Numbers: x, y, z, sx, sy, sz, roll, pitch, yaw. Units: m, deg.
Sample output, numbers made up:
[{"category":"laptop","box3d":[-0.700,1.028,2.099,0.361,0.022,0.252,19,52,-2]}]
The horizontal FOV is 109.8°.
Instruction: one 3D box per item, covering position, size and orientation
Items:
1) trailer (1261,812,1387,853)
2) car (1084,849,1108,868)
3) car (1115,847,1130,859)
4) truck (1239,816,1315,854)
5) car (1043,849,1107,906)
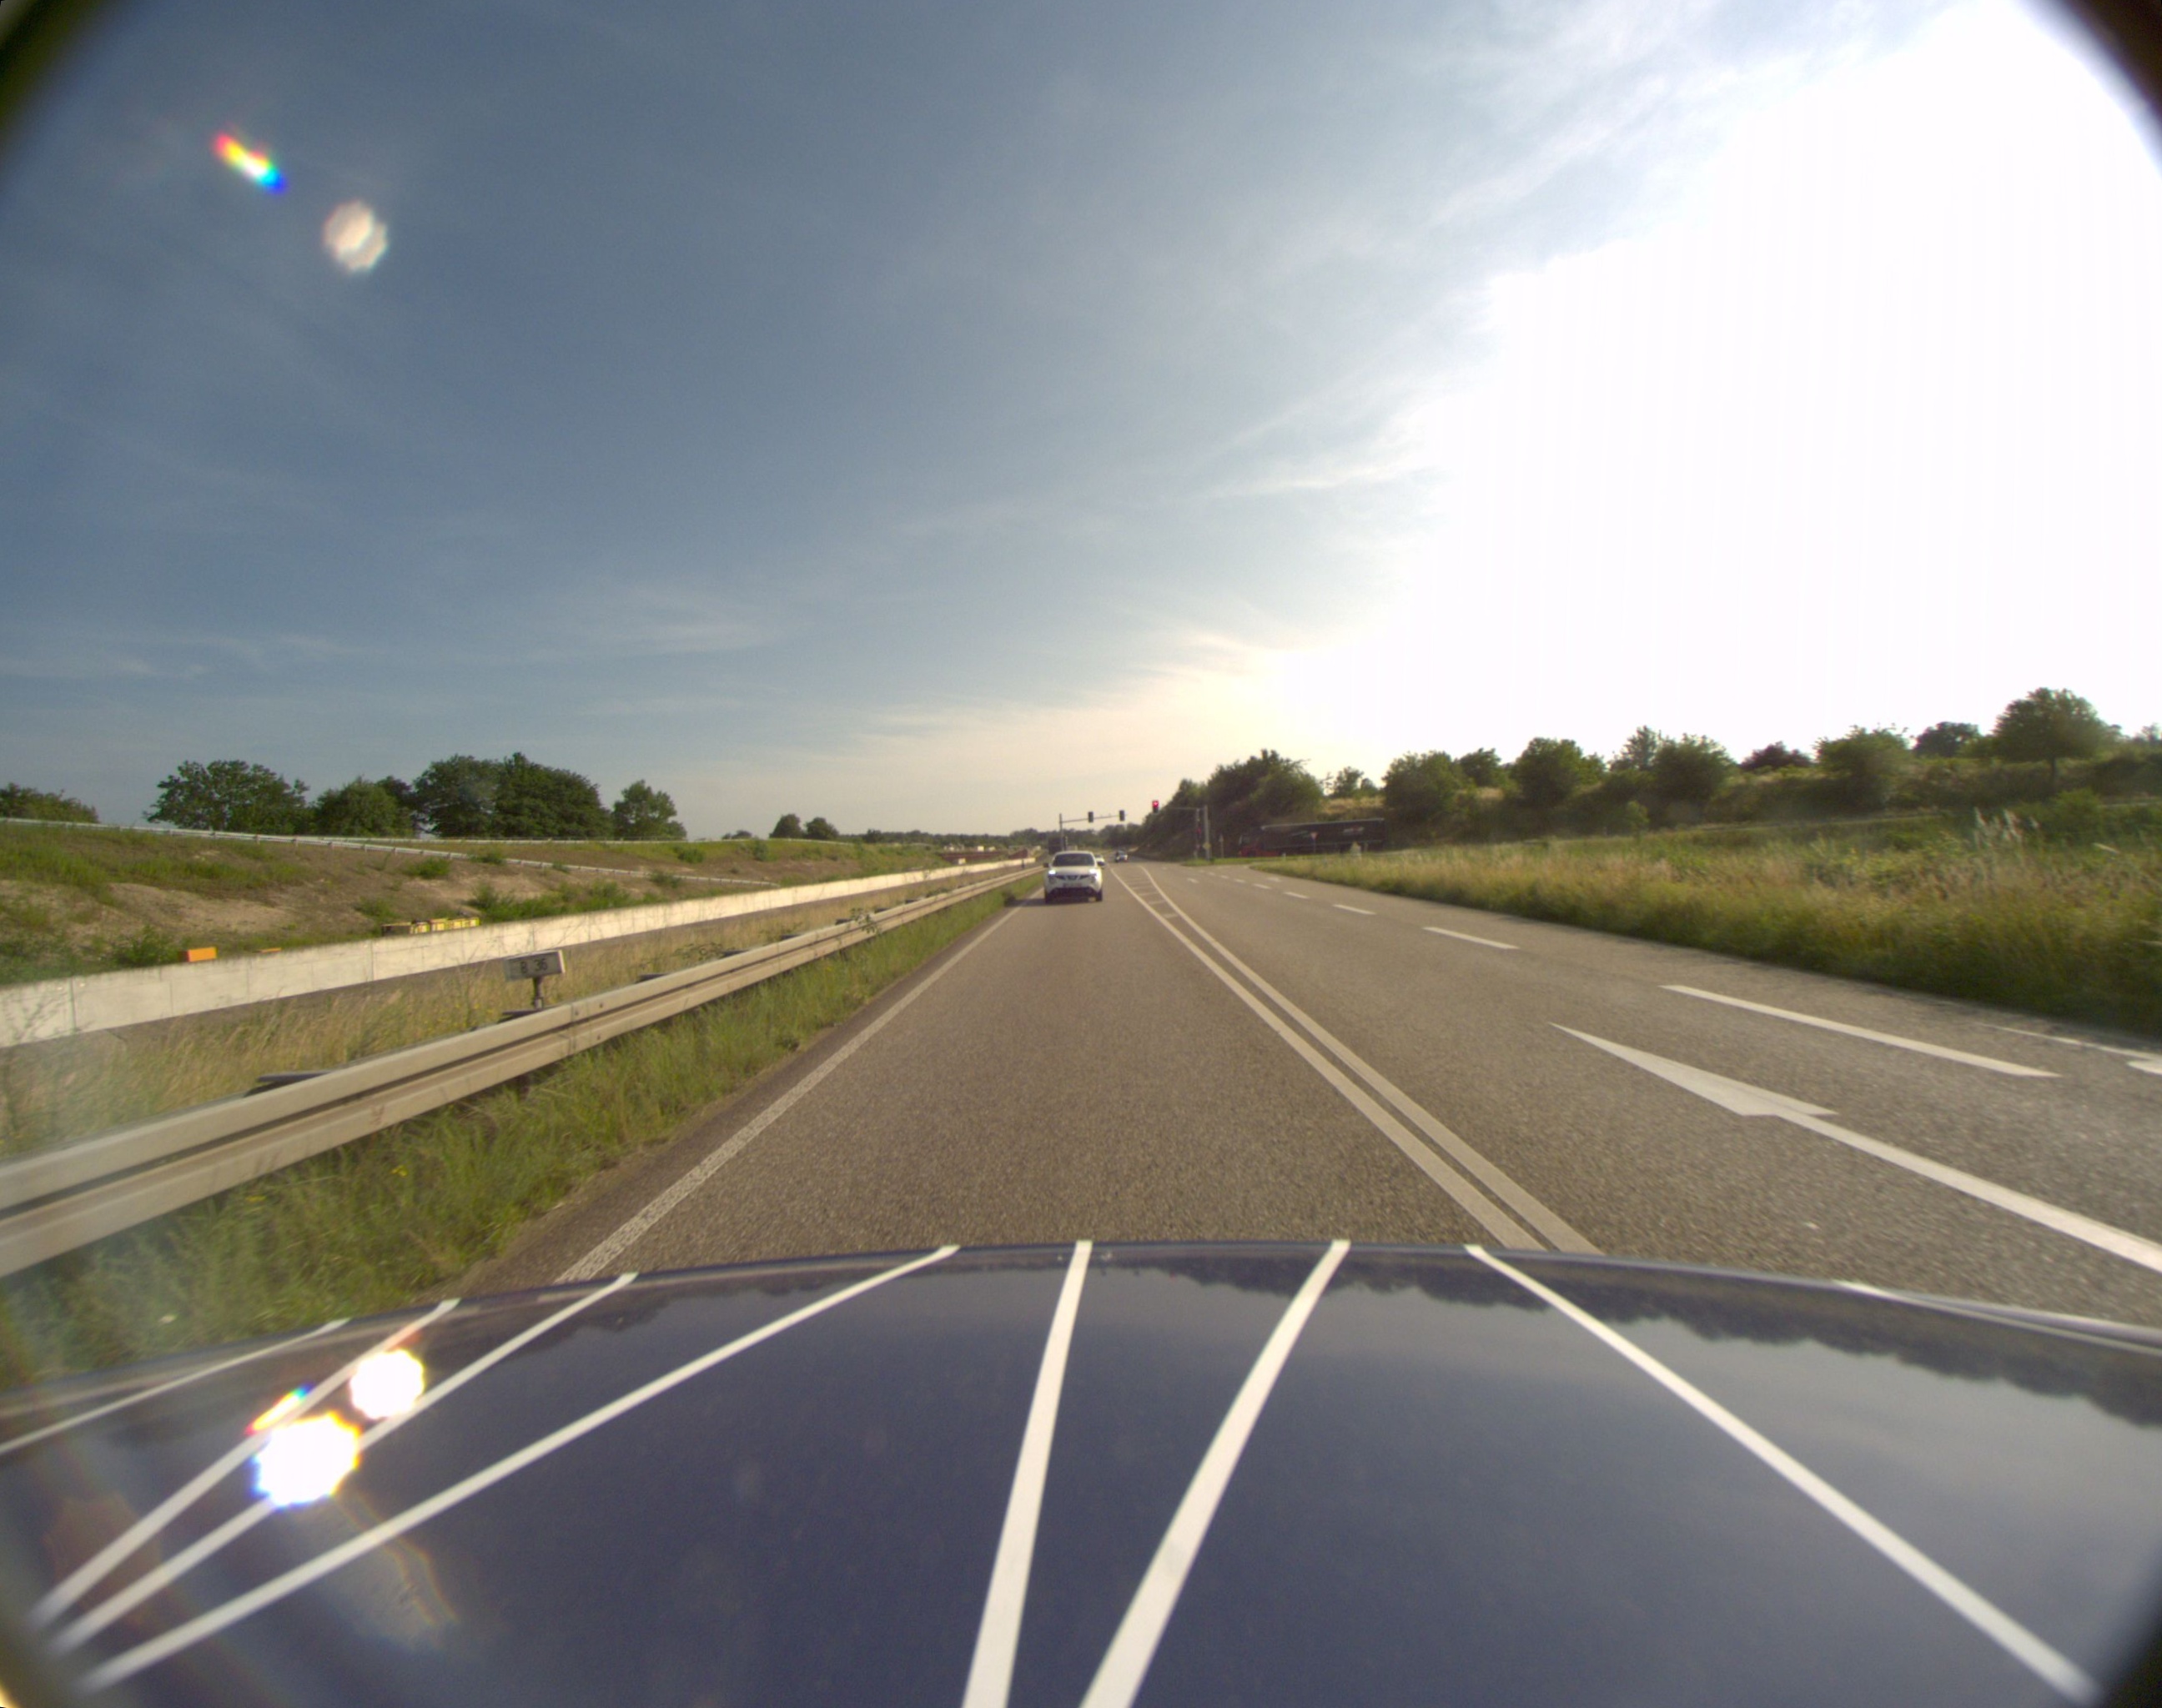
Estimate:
[{"category":"trailer","box3d":[28.417,-2.457,89.611,13.777,4.090,3.561,-3,1,11]},{"category":"car","box3d":[1.320,0.403,68.697,1.908,1.512,4.464,-2,1,-1]},{"category":"car","box3d":[5.971,-0.197,108.864,1.998,1.602,4.198,-2,1,5]},{"category":"truck","box3d":[23.277,-2.220,90.627,8.388,4.090,3.561,-3,1,11]},{"category":"car","box3d":[-0.281,0.687,24.517,1.789,1.593,4.570,-2,0,-3]}]
